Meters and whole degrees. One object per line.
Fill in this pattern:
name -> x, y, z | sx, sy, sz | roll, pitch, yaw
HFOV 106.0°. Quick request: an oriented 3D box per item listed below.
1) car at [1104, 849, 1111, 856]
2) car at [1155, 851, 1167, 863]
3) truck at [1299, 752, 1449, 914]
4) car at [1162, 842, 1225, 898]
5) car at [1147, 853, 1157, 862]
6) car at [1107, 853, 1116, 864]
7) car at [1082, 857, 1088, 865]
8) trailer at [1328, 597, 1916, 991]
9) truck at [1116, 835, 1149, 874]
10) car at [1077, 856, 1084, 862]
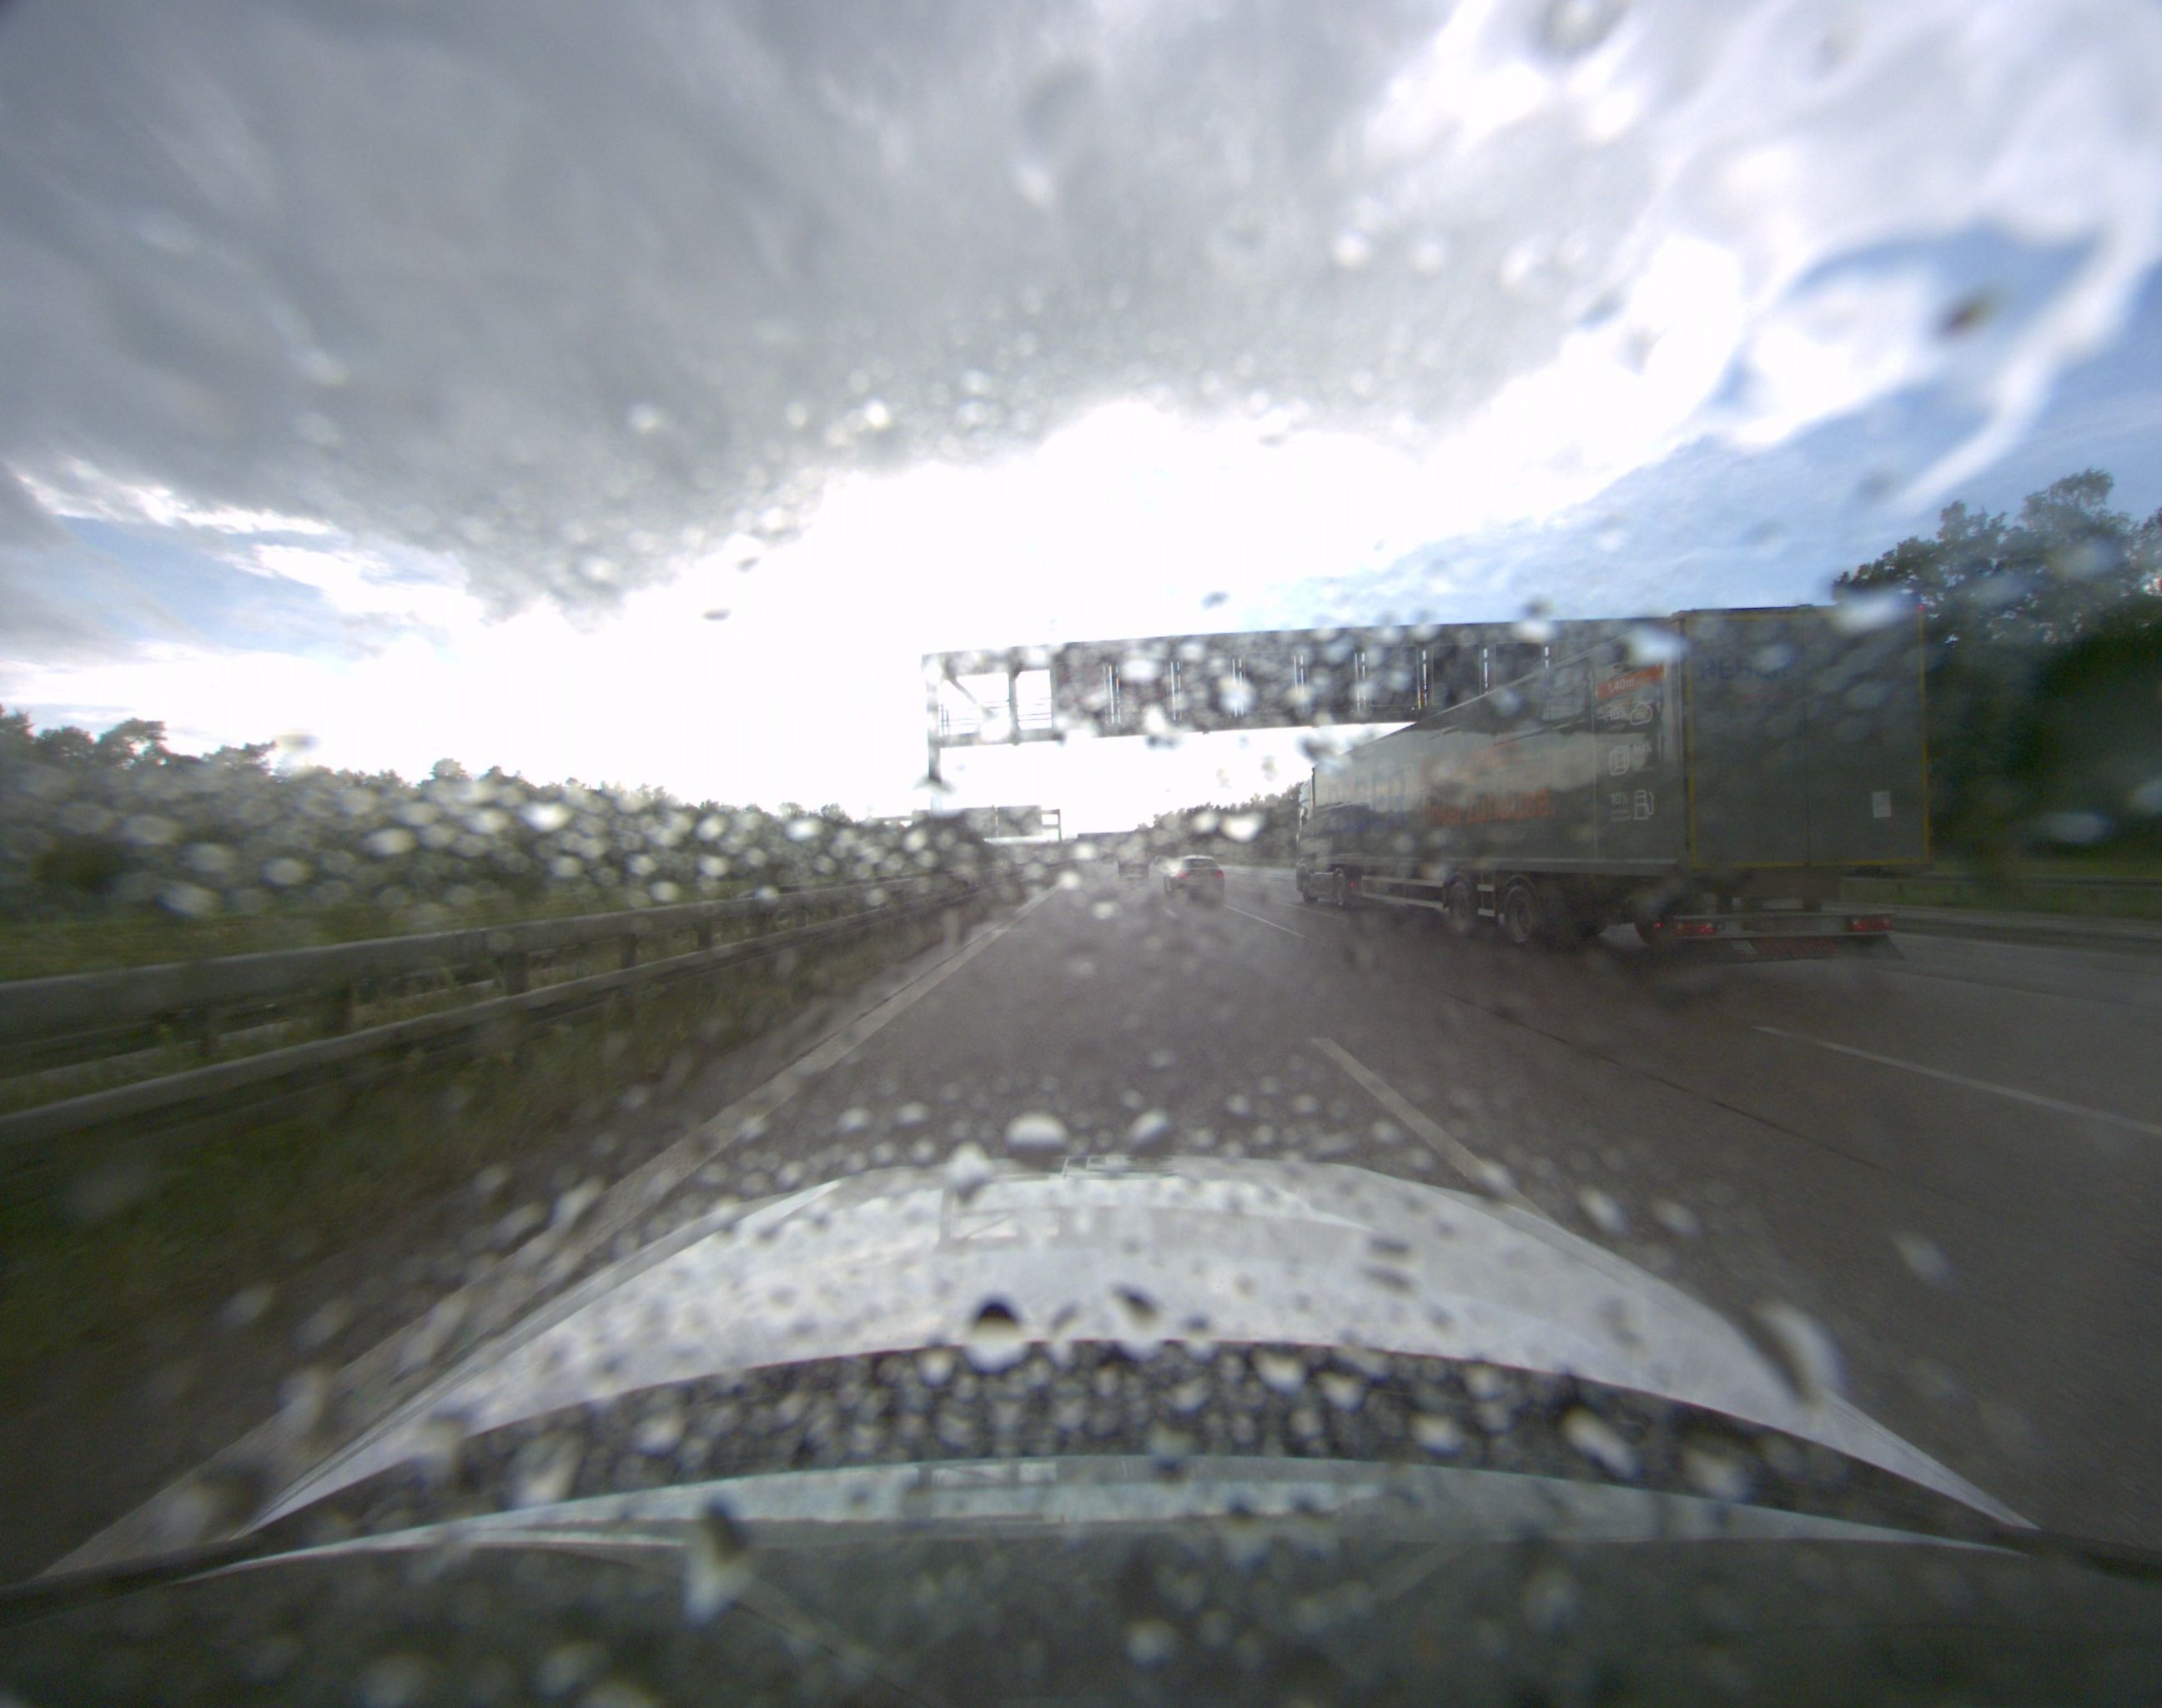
car -> 8.227, -0.442, 254.609 | 1.986, 2.013, 4.002 | 0, 0, 2
car -> 13.609, 0.456, 138.439 | 1.984, 2.013, 4.006 | 0, 0, 5
truck -> 7.825, -0.507, 22.435 | 2.285, 3.868, 5.394 | -1, 0, 2
car -> 4.055, 0.524, 30.166 | 2.068, 1.885, 5.019 | -1, 0, 5
car -> 14.494, 0.761, 166.764 | 1.734, 1.688, 4.002 | -1, 0, 2
car -> 5.636, 0.804, 150.125 | 1.668, 2.013, 4.002 | 0, 0, 2
car -> 0.999, 1.852, 210.908 | 1.611, 2.013, 4.002 | 0, 0, 2
trailer -> 7.580, -0.602, 15.074 | 2.315, 4.001, 13.418 | -1, 0, 2
truck -> 3.556, 0.044, 55.830 | 2.127, 2.489, 5.319 | -1, 0, 4
car -> -0.128, 1.550, 258.316 | 1.787, 2.013, 4.004 | 0, 0, 3
